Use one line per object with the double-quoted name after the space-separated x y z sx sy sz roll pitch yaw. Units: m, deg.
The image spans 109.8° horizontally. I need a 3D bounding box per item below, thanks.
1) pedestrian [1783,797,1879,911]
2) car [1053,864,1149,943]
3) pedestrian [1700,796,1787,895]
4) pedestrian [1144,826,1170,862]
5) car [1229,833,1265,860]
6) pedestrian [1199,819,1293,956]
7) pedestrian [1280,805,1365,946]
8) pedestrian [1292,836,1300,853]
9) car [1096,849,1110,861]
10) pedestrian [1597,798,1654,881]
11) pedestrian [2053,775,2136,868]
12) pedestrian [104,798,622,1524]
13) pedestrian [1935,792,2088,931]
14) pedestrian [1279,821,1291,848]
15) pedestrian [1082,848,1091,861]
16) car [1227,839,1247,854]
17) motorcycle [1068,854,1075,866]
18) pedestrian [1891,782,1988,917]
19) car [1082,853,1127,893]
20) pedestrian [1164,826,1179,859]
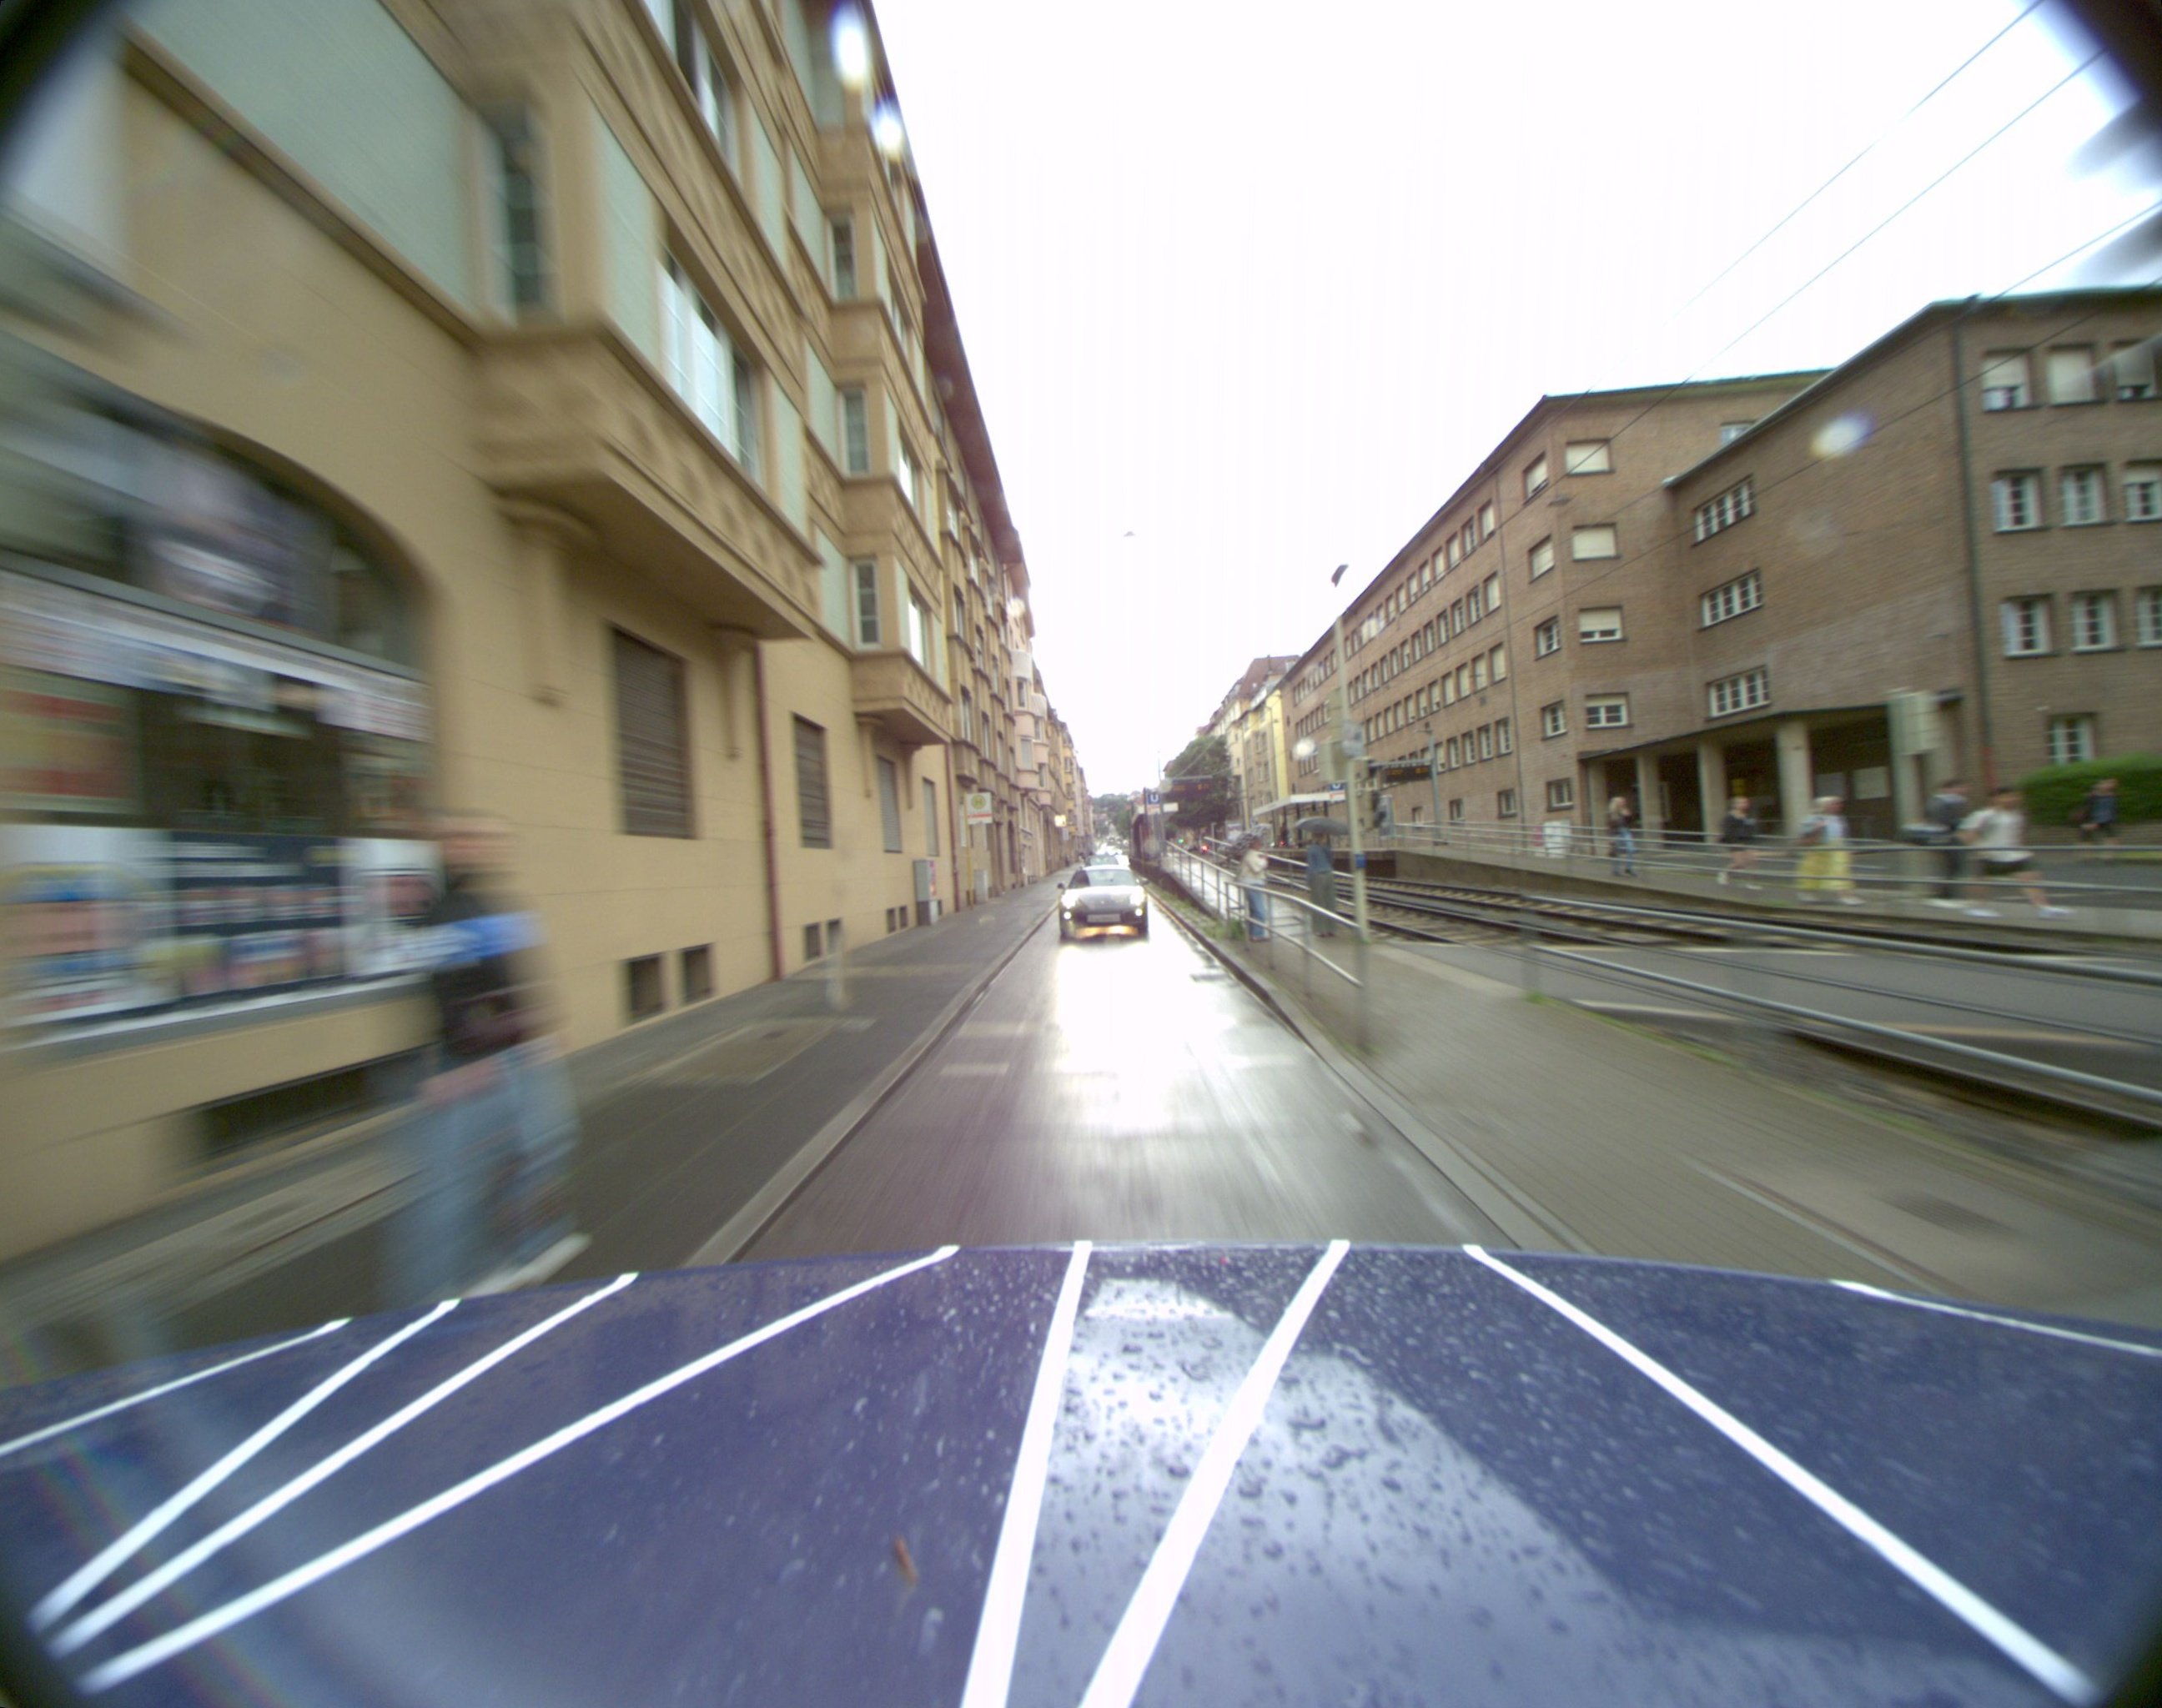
11.520 -0.006 11.684 0.745 1.638 0.640 -5 2 2 "pedestrian"
0.504 0.961 16.275 1.704 1.280 4.196 -4 0 4 "car"
11.925 -0.170 13.706 0.745 1.687 0.882 -5 4 1 "pedestrian"
3.929 -0.532 39.321 1.116 1.764 1.111 -4 1 2 "pedestrian"
12.864 -0.600 58.997 1.998 2.002 4.000 -2 1 2 "car"
2.568 0.500 11.843 0.949 2.002 0.926 -5 1 -43 "pedestrian"
3.656 0.314 11.579 0.899 2.002 0.947 -4 1 2 "pedestrian"
20.194 -0.884 71.228 0.550 1.644 0.542 -3 1 3 "pedestrian"
2.878 0.158 99.531 1.633 1.443 4.001 -4 0 4 "car"
11.707 -0.314 16.347 0.666 1.689 0.688 -6 4 -1 "pedestrian"
18.920 -0.595 14.193 0.605 1.665 0.688 -2 1 -1 "pedestrian"
-2.154 0.771 2.506 0.969 1.830 0.900 0 1 -24 "pedestrian"
11.317 0.070 9.279 0.694 1.574 0.956 -4 2 2 "pedestrian"
13.248 -1.265 49.259 0.588 1.699 0.491 -2 1 1 "pedestrian"
0.751 0.087 100.282 1.125 1.703 1.102 -3 1 3 "pedestrian"
17.560 -0.843 85.577 1.648 1.458 3.111 -4 0 4 "car"
-1.004 0.593 81.392 0.692 1.230 1.779 2 1 2 "motorcycle"
12.015 -0.063 10.644 0.800 1.807 0.512 -3 -1 -15 "pedestrian"
0.984 0.715 30.853 1.689 1.451 3.299 -2 1 3 "car"
4.895 -0.632 41.185 0.645 1.764 0.710 -4 1 2 "pedestrian"
